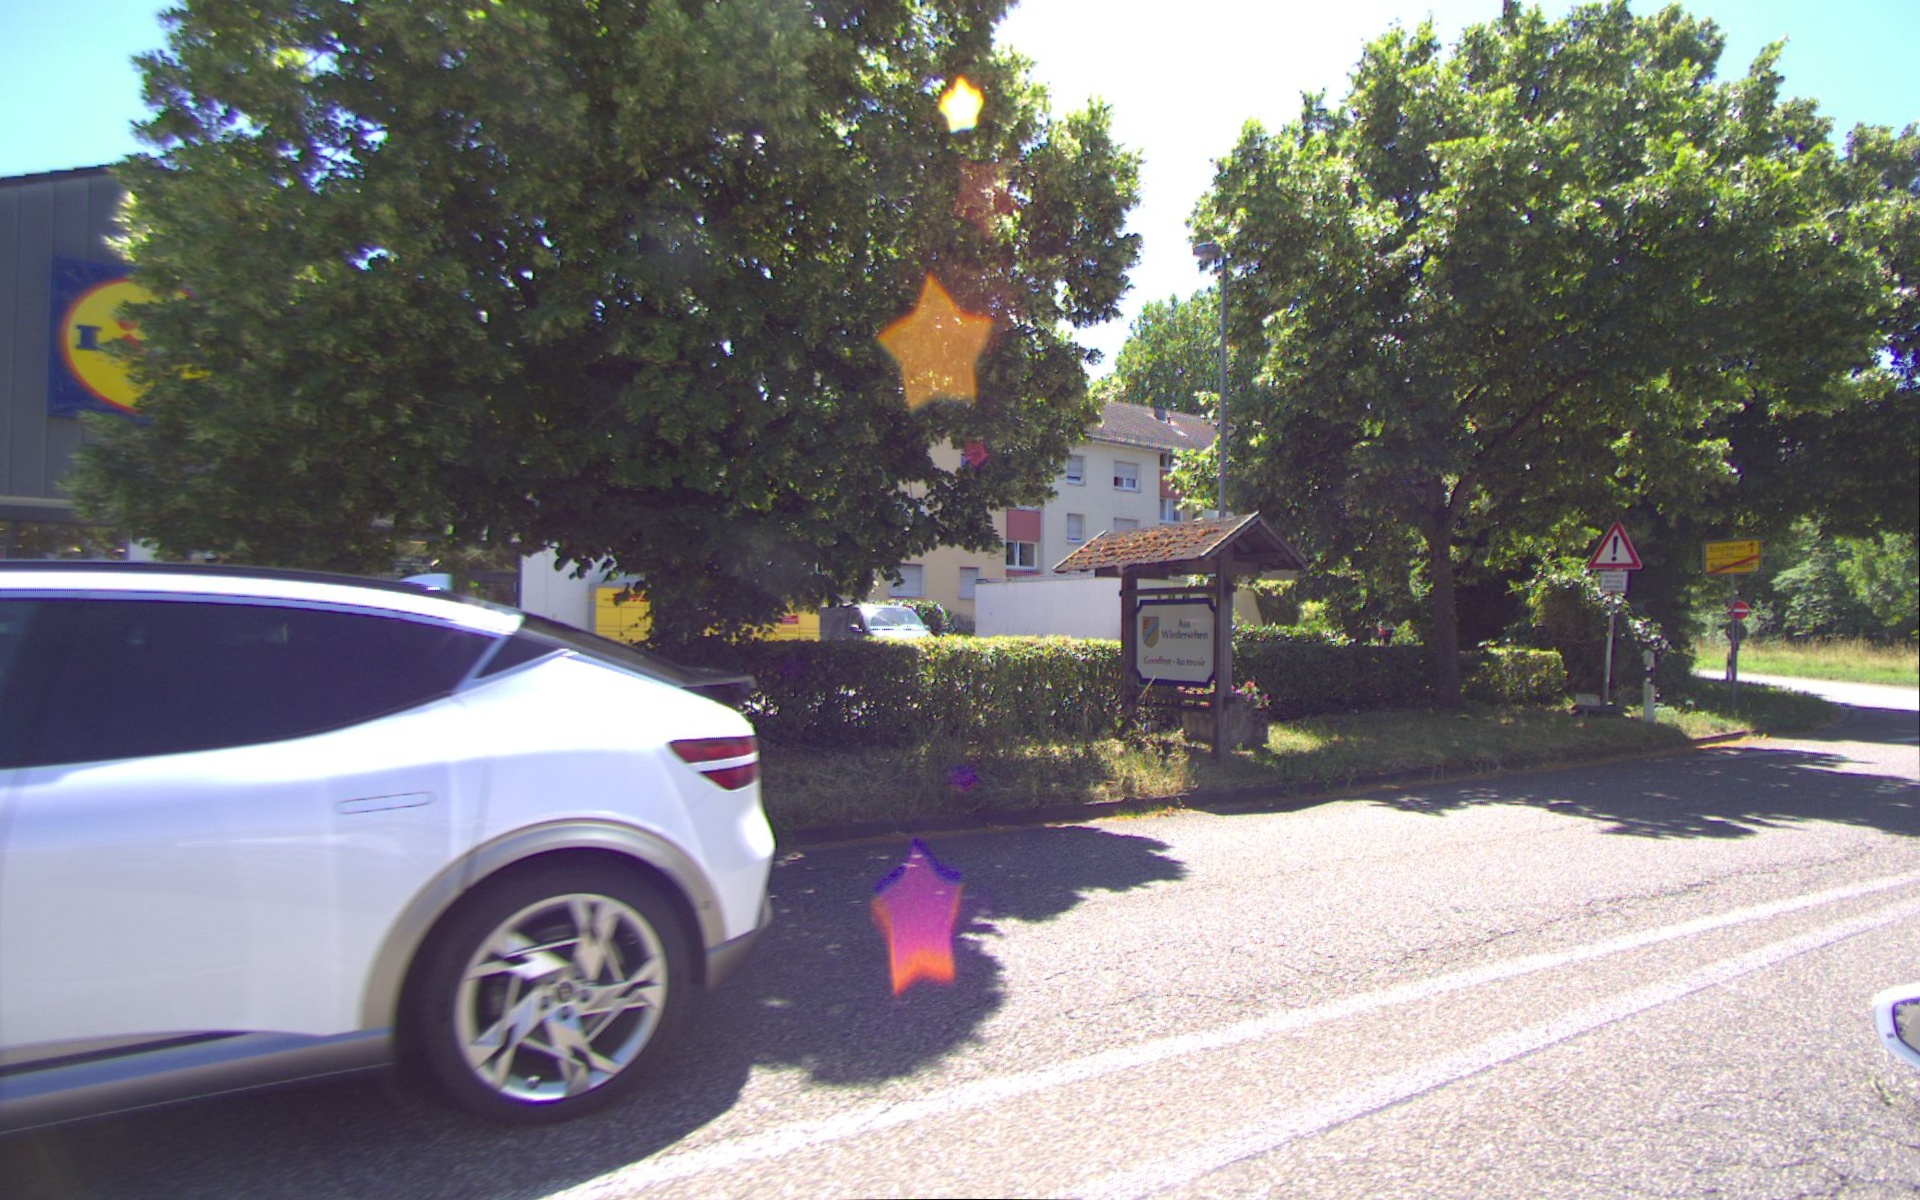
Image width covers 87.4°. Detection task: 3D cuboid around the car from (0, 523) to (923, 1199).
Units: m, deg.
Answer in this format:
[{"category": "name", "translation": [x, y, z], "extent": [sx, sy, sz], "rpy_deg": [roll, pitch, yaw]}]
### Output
[{"category": "car", "translation": [-2.565, 0.620, 3.107], "extent": [4.423, 1.609, 2.084], "rpy_deg": [2, 0, -30]}]

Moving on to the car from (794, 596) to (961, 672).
[{"category": "car", "translation": [-2.213, 0.799, 25.434], "extent": [2.214, 1.592, 4.959], "rpy_deg": [2, 0, -31]}]

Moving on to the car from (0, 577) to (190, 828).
[{"category": "car", "translation": [-8.437, 0.711, 8.946], "extent": [2.050, 1.800, 4.376], "rpy_deg": [2, 0, -32]}]
